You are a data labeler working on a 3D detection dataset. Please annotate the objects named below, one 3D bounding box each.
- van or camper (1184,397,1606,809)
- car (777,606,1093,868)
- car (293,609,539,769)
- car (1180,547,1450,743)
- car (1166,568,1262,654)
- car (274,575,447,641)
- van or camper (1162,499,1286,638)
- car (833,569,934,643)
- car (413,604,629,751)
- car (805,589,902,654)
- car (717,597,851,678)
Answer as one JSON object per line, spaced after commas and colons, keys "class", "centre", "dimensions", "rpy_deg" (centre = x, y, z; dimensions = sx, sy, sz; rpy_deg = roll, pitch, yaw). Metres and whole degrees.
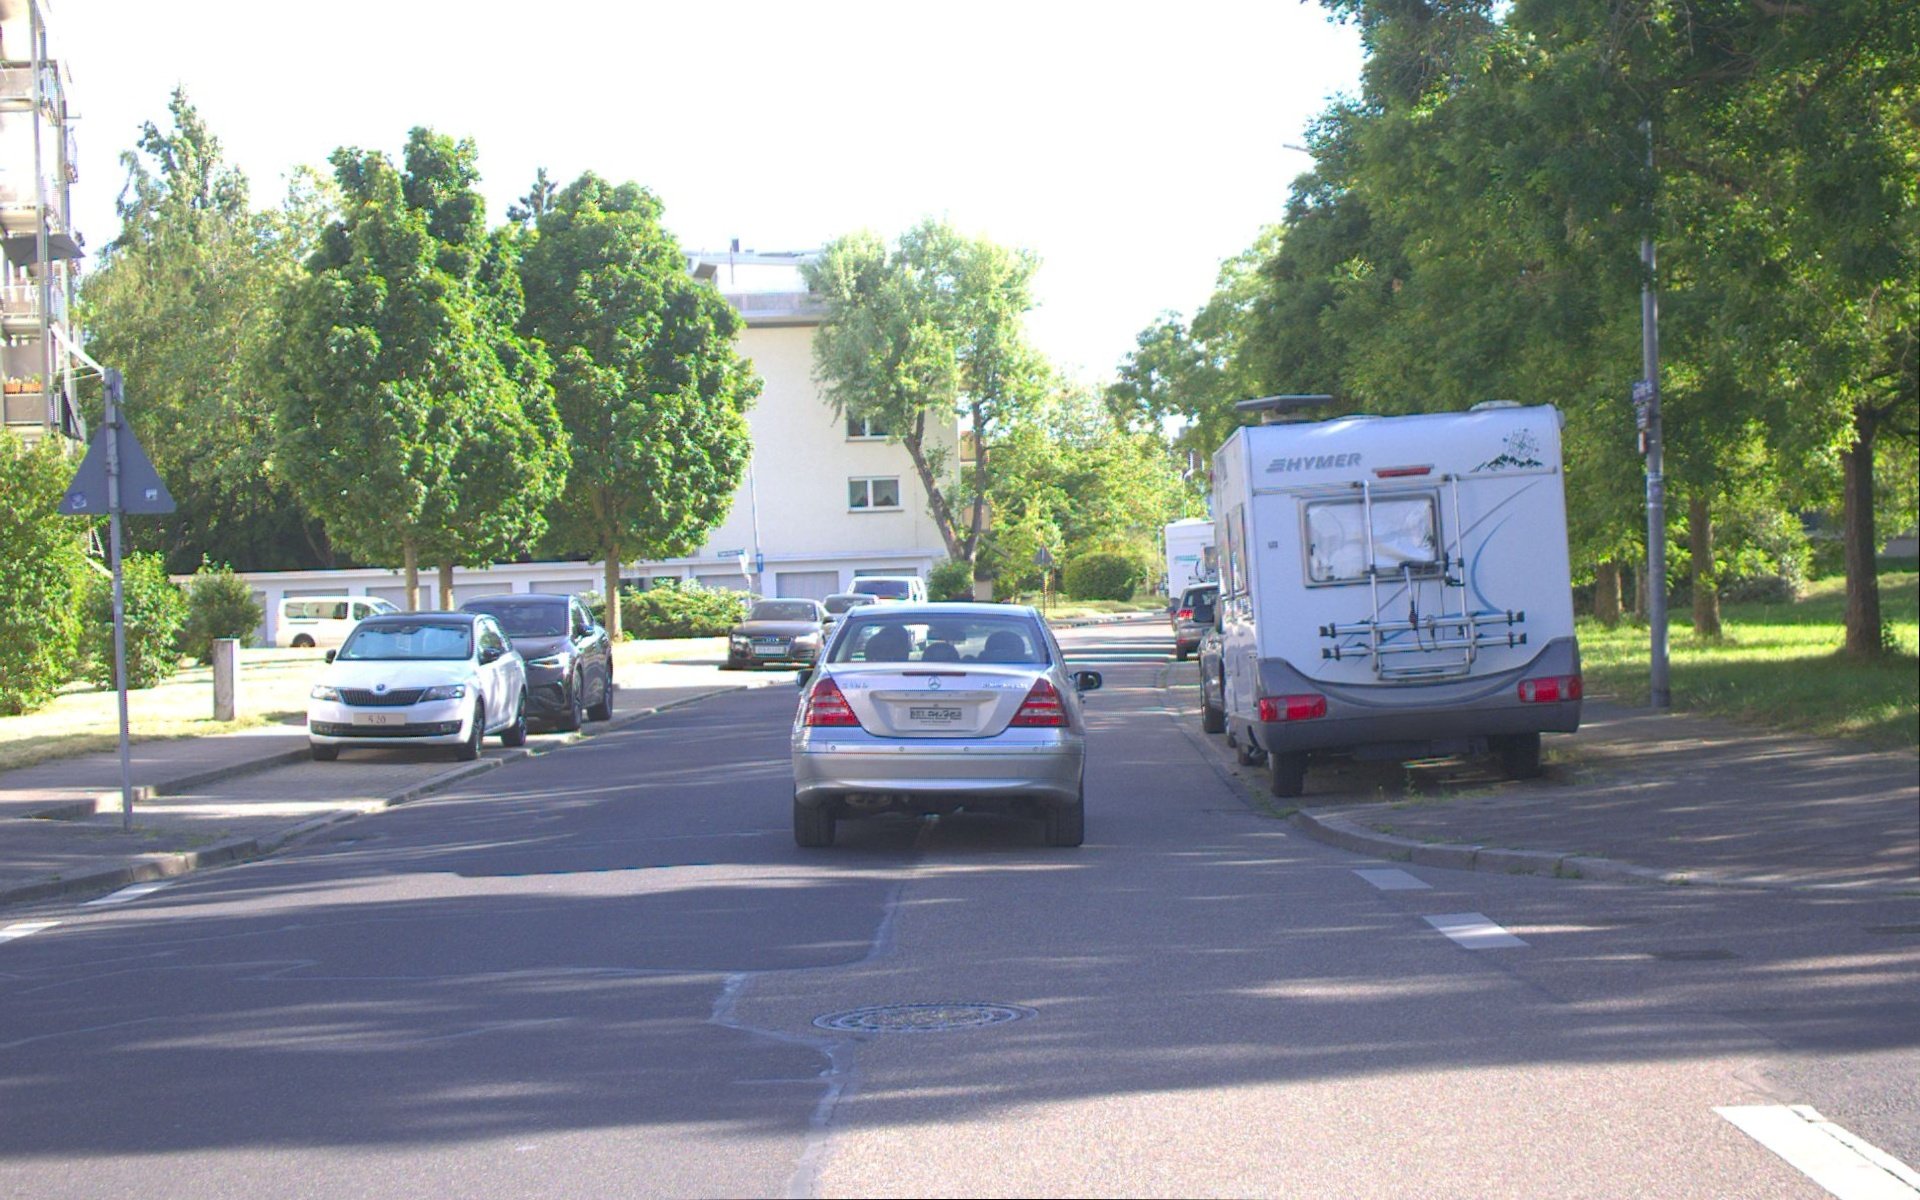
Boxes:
{"class": "van or camper", "centre": [3.148, -0.006, 26.456], "dimensions": [2.352, 2.587, 6.425], "rpy_deg": [-5, 0, 1]}
{"class": "car", "centre": [-0.078, 0.768, 20.705], "dimensions": [1.733, 1.429, 3.438], "rpy_deg": [-1, 0, 2]}
{"class": "car", "centre": [-5.515, 0.866, 35.308], "dimensions": [1.646, 1.461, 4.330], "rpy_deg": [-1, 1, 2]}
{"class": "car", "centre": [3.341, 0.391, 33.250], "dimensions": [1.993, 1.635, 4.537], "rpy_deg": [-4, 0, -1]}
{"class": "car", "centre": [5.101, 0.195, 69.421], "dimensions": [1.720, 1.519, 4.428], "rpy_deg": [-5, 0, 3]}
{"class": "car", "centre": [-19.838, 0.274, 113.910], "dimensions": [5.108, 1.944, 2.236], "rpy_deg": [-2, 0, 13]}
{"class": "van or camper", "centre": [5.835, -0.706, 76.489], "dimensions": [2.497, 2.835, 6.850], "rpy_deg": [-3, 0, 4]}
{"class": "car", "centre": [-1.975, 0.146, 89.930], "dimensions": [2.015, 1.879, 5.189], "rpy_deg": [0, 0, 6]}
{"class": "car", "centre": [-5.280, 0.891, 41.935], "dimensions": [1.914, 1.598, 4.812], "rpy_deg": [-2, 0, 1]}
{"class": "car", "centre": [-2.547, 0.508, 83.336], "dimensions": [1.833, 1.513, 4.220], "rpy_deg": [0, 0, 6]}
{"class": "car", "centre": [-3.563, 0.739, 70.468], "dimensions": [2.035, 1.488, 5.255], "rpy_deg": [-2, 0, 4]}
